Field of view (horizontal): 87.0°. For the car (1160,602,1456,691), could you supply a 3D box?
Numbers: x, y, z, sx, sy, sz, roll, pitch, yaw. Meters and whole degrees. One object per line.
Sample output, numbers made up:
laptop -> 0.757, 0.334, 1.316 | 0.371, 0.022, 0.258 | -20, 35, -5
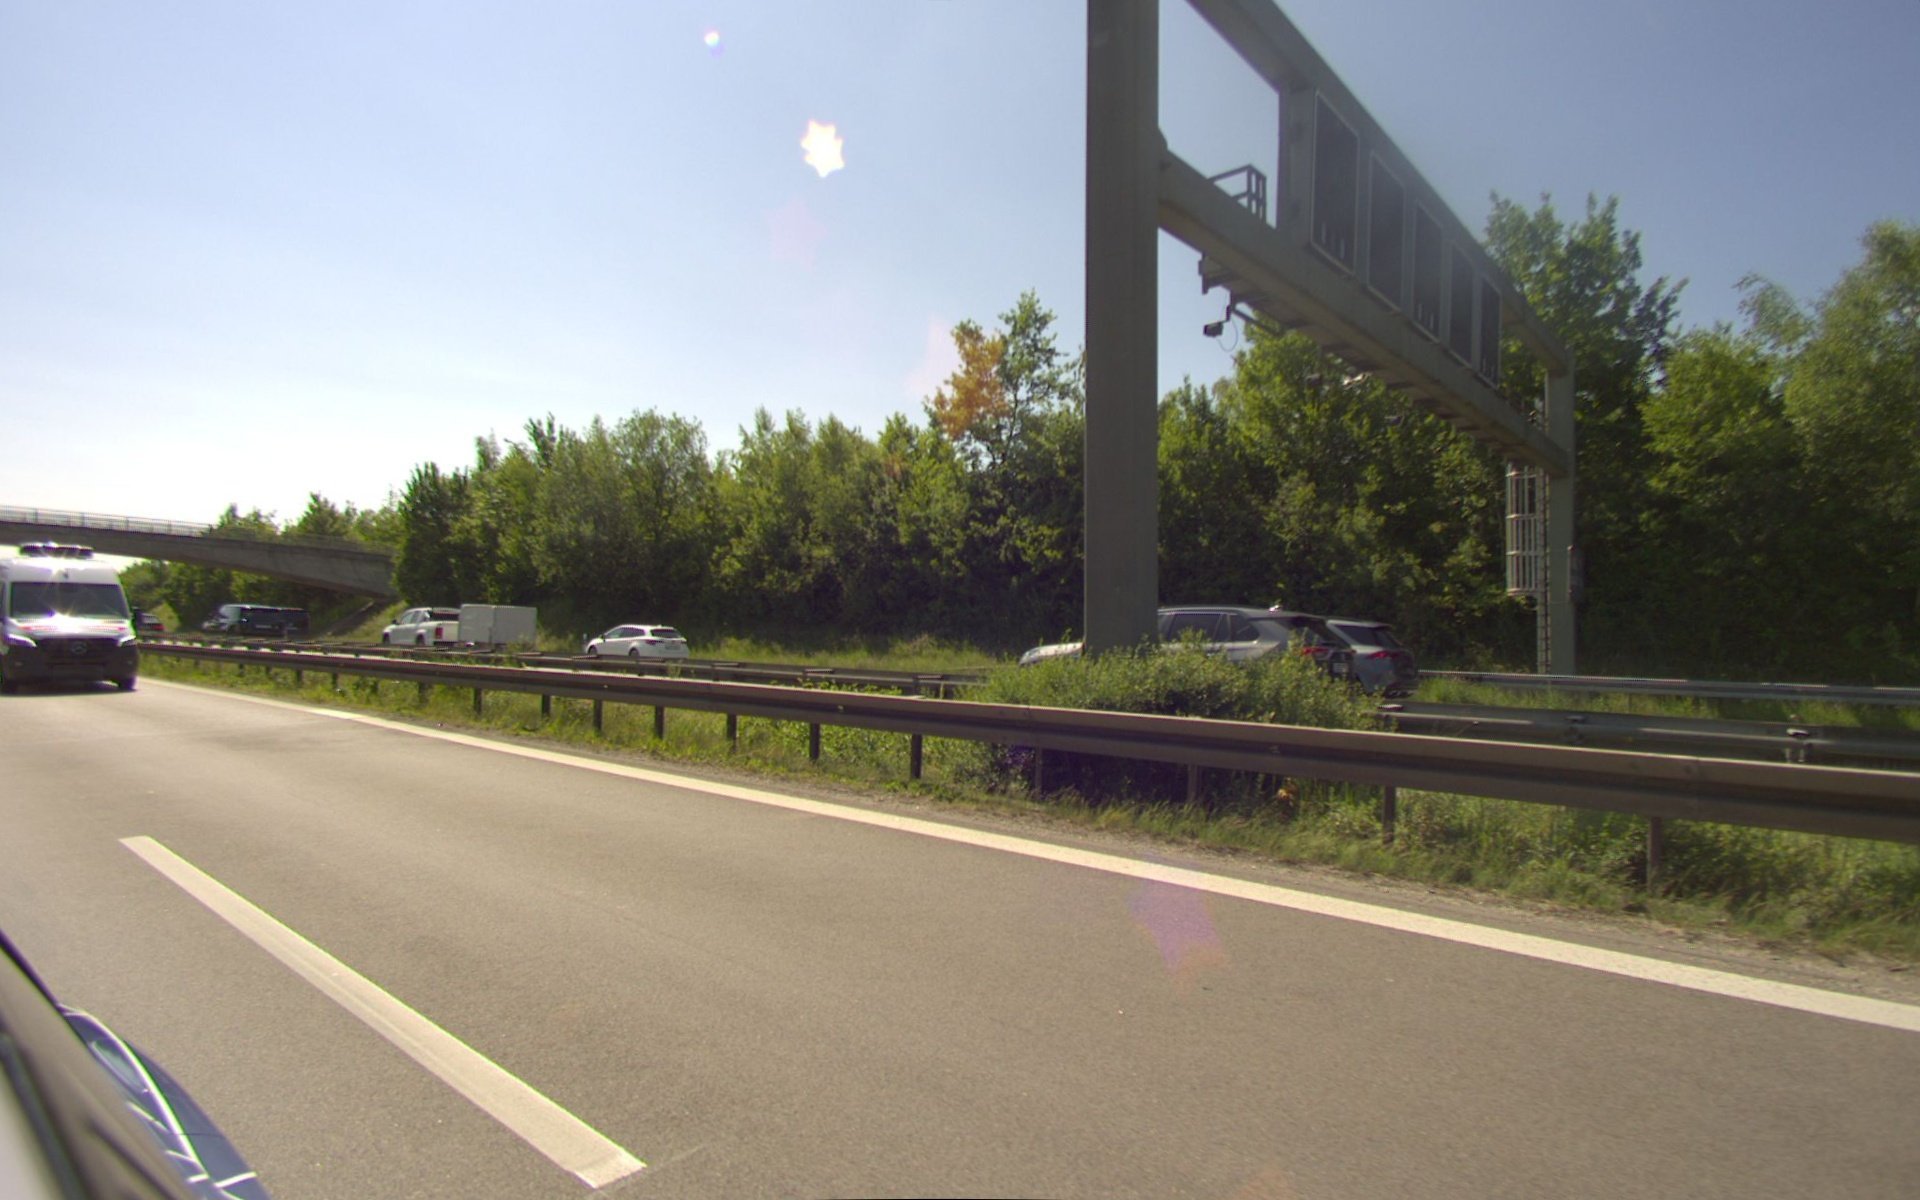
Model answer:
car -> 6.559, 0.807, 19.447 | 5.063, 1.476, 1.882 | 0, -1, 41

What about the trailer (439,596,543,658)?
trailer -> -15.281, 0.824, 32.895 | 3.920, 1.848, 1.603 | 1, 0, 41

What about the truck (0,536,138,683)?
truck -> -18.698, 0.202, 20.570 | 6.689, 2.562, 1.973 | 0, -2, 41

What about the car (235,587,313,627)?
car -> -34.439, 0.343, 50.770 | 5.194, 1.927, 1.973 | 0, -1, 41

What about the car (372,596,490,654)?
car -> -18.777, 0.831, 35.829 | 5.124, 1.818, 1.973 | 1, 0, 41

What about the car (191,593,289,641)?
car -> -28.229, 0.650, 39.610 | 5.194, 1.720, 1.886 | 0, -3, 41

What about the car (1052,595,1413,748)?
car -> 3.324, 0.786, 12.769 | 4.058, 1.630, 1.760 | 0, -2, 41

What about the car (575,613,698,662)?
car -> -11.205, 1.239, 34.921 | 4.530, 1.453, 1.973 | 1, 0, 41

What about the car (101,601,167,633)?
car -> -42.686, 0.866, 52.257 | 4.853, 1.533, 1.815 | 0, -3, 41
